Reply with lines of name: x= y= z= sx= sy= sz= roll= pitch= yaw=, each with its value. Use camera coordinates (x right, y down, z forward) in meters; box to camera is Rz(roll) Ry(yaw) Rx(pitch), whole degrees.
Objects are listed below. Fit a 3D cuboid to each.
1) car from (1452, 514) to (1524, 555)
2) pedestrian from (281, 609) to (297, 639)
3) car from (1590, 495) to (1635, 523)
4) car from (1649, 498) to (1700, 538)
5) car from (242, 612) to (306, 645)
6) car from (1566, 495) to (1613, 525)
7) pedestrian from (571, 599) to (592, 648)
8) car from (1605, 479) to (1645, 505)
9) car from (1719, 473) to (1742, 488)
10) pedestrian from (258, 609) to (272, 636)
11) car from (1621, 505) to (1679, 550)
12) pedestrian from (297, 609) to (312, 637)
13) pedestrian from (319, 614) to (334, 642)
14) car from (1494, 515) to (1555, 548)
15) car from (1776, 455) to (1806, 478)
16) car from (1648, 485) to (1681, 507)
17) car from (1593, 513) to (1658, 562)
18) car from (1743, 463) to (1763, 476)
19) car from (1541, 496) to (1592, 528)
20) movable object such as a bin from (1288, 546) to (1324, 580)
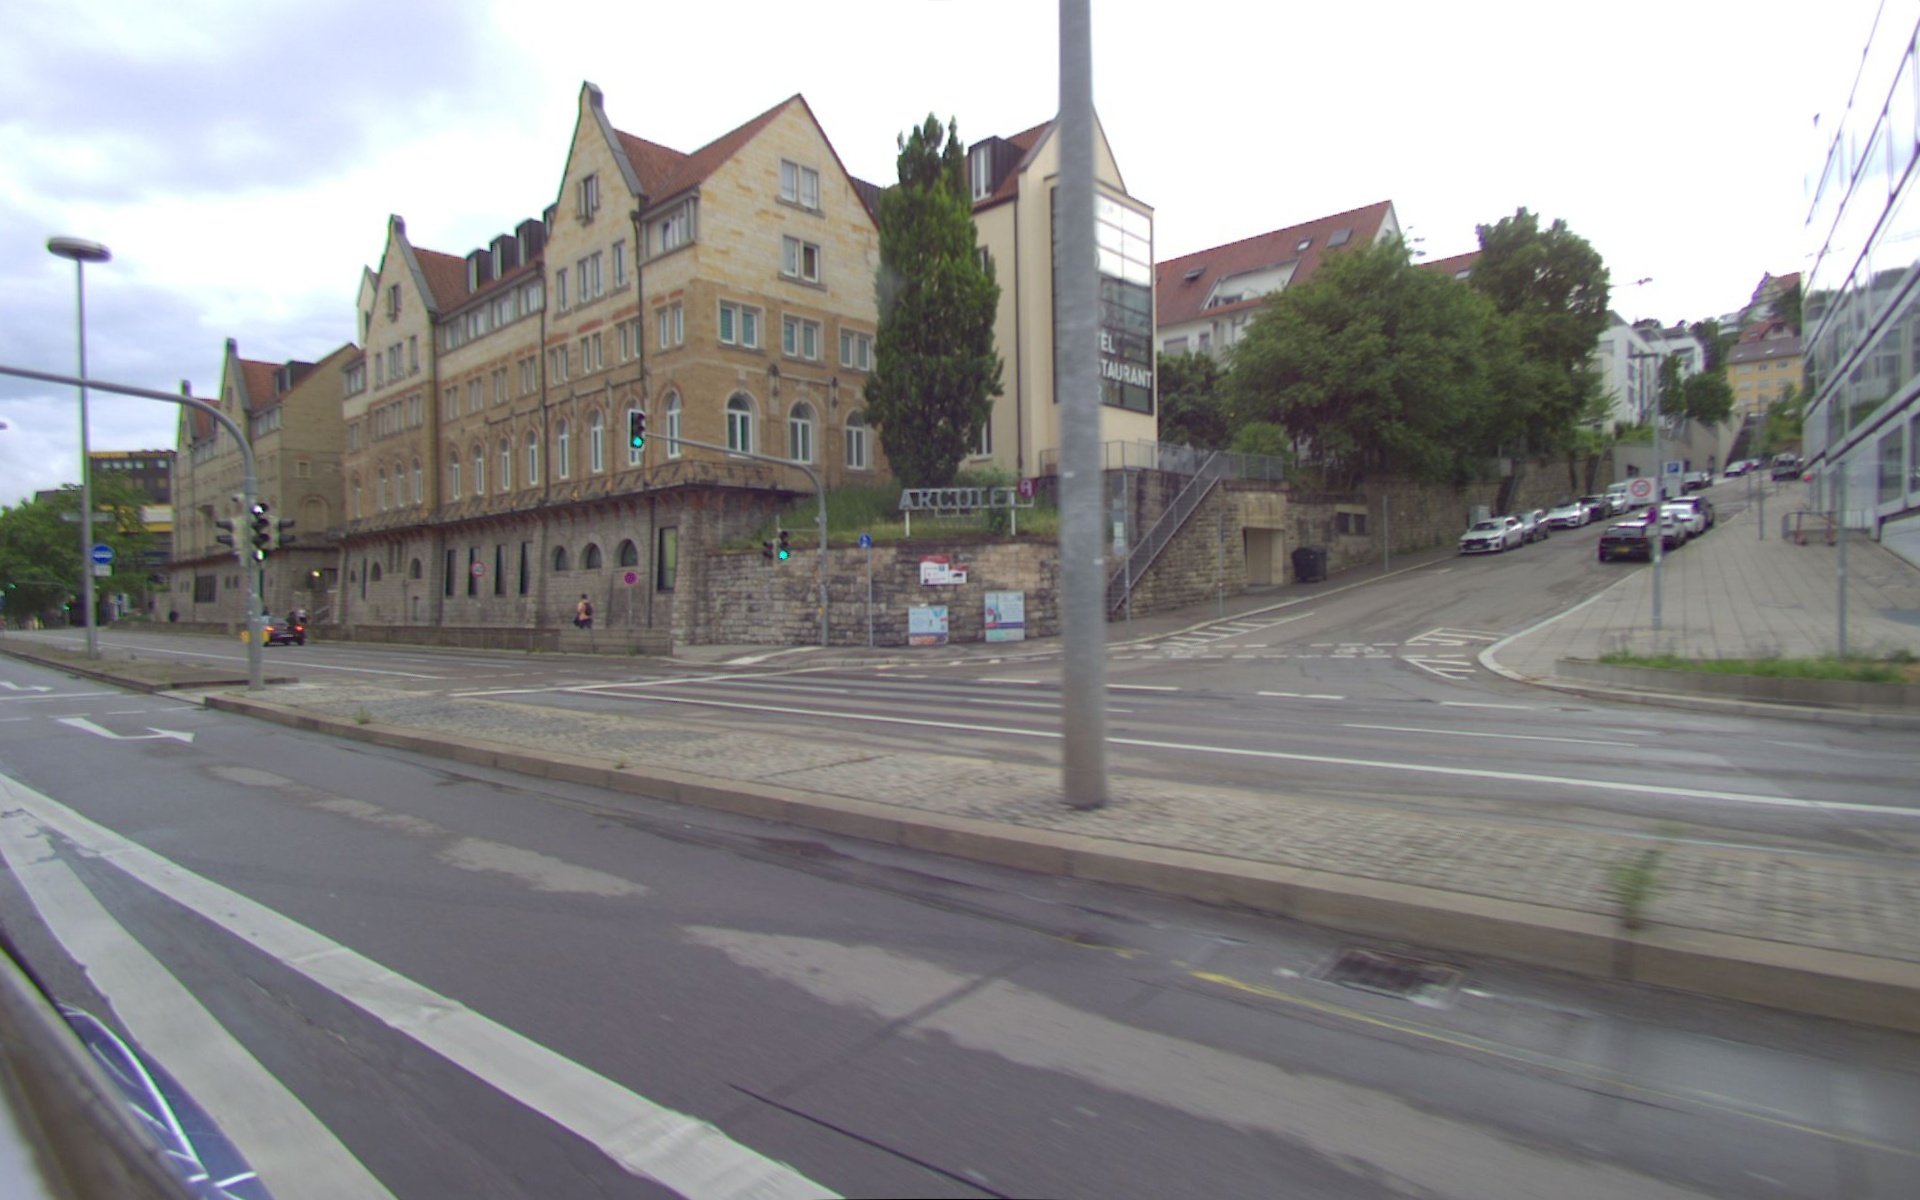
car: x=24.963 y=-3.101 z=47.810 sx=2.053 sy=1.696 sz=3.945 roll=0 pitch=5 yaw=43
pedestrian: x=-40.852 y=1.432 z=61.629 sx=0.683 sy=1.792 sz=0.669 roll=0 pitch=0 yaw=42
car: x=44.446 y=-6.230 z=68.919 sx=1.916 sy=1.696 sz=3.945 roll=0 pitch=5 yaw=43
car: x=33.827 y=-3.910 z=47.877 sx=1.876 sy=1.588 sz=3.953 roll=-1 pitch=6 yaw=37
car: x=-33.380 y=1.380 z=49.180 sx=4.000 sy=1.475 sz=1.692 roll=-2 pitch=0 yaw=43
car: x=40.270 y=-5.774 z=64.709 sx=1.848 sy=1.696 sz=3.945 roll=0 pitch=5 yaw=43
pedestrian: x=-13.960 y=0.863 z=37.344 sx=0.666 sy=1.792 sz=0.686 roll=0 pitch=0 yaw=-18
car: x=48.336 y=-7.861 z=73.551 sx=1.814 sy=1.696 sz=3.945 roll=0 pitch=5 yaw=43
car: x=94.673 y=-14.654 z=124.409 sx=1.882 sy=1.696 sz=3.945 roll=0 pitch=5 yaw=43
pedestrian: x=-47.502 y=1.519 z=69.199 sx=0.683 sy=1.792 sz=0.669 roll=0 pitch=0 yaw=42
car: x=29.612 y=-3.125 z=43.405 sx=1.876 sy=1.588 sz=3.953 roll=-1 pitch=6 yaw=37
pedestrian: x=-41.852 y=1.462 z=64.641 sx=0.683 sy=1.792 sz=0.669 roll=0 pitch=0 yaw=42
pedestrian: x=-40.957 y=1.793 z=65.476 sx=0.683 sy=1.792 sz=0.669 roll=0 pitch=0 yaw=42
car: x=28.952 y=-3.539 z=51.870 sx=1.863 sy=1.465 sz=3.852 roll=0 pitch=5 yaw=43
car: x=83.854 y=-13.525 z=102.125 sx=2.001 sy=2.105 sz=3.944 roll=0 pitch=6 yaw=44
car: x=58.700 y=-8.676 z=84.256 sx=1.709 sy=1.696 sz=3.945 roll=0 pitch=5 yaw=43
car: x=26.025 y=-2.464 z=39.521 sx=1.876 sy=1.588 sz=3.953 roll=-1 pitch=6 yaw=37
car: x=112.097 y=-18.428 z=143.094 sx=1.882 sy=1.696 sz=3.945 roll=0 pitch=5 yaw=43
car: x=35.830 y=-5.198 z=59.735 sx=1.814 sy=1.696 sz=3.945 roll=0 pitch=5 yaw=43
movable object such as a bin: x=13.936 y=-1.483 z=40.753 sx=1.118 sy=1.252 sz=0.816 roll=-1 pitch=7 yaw=41
